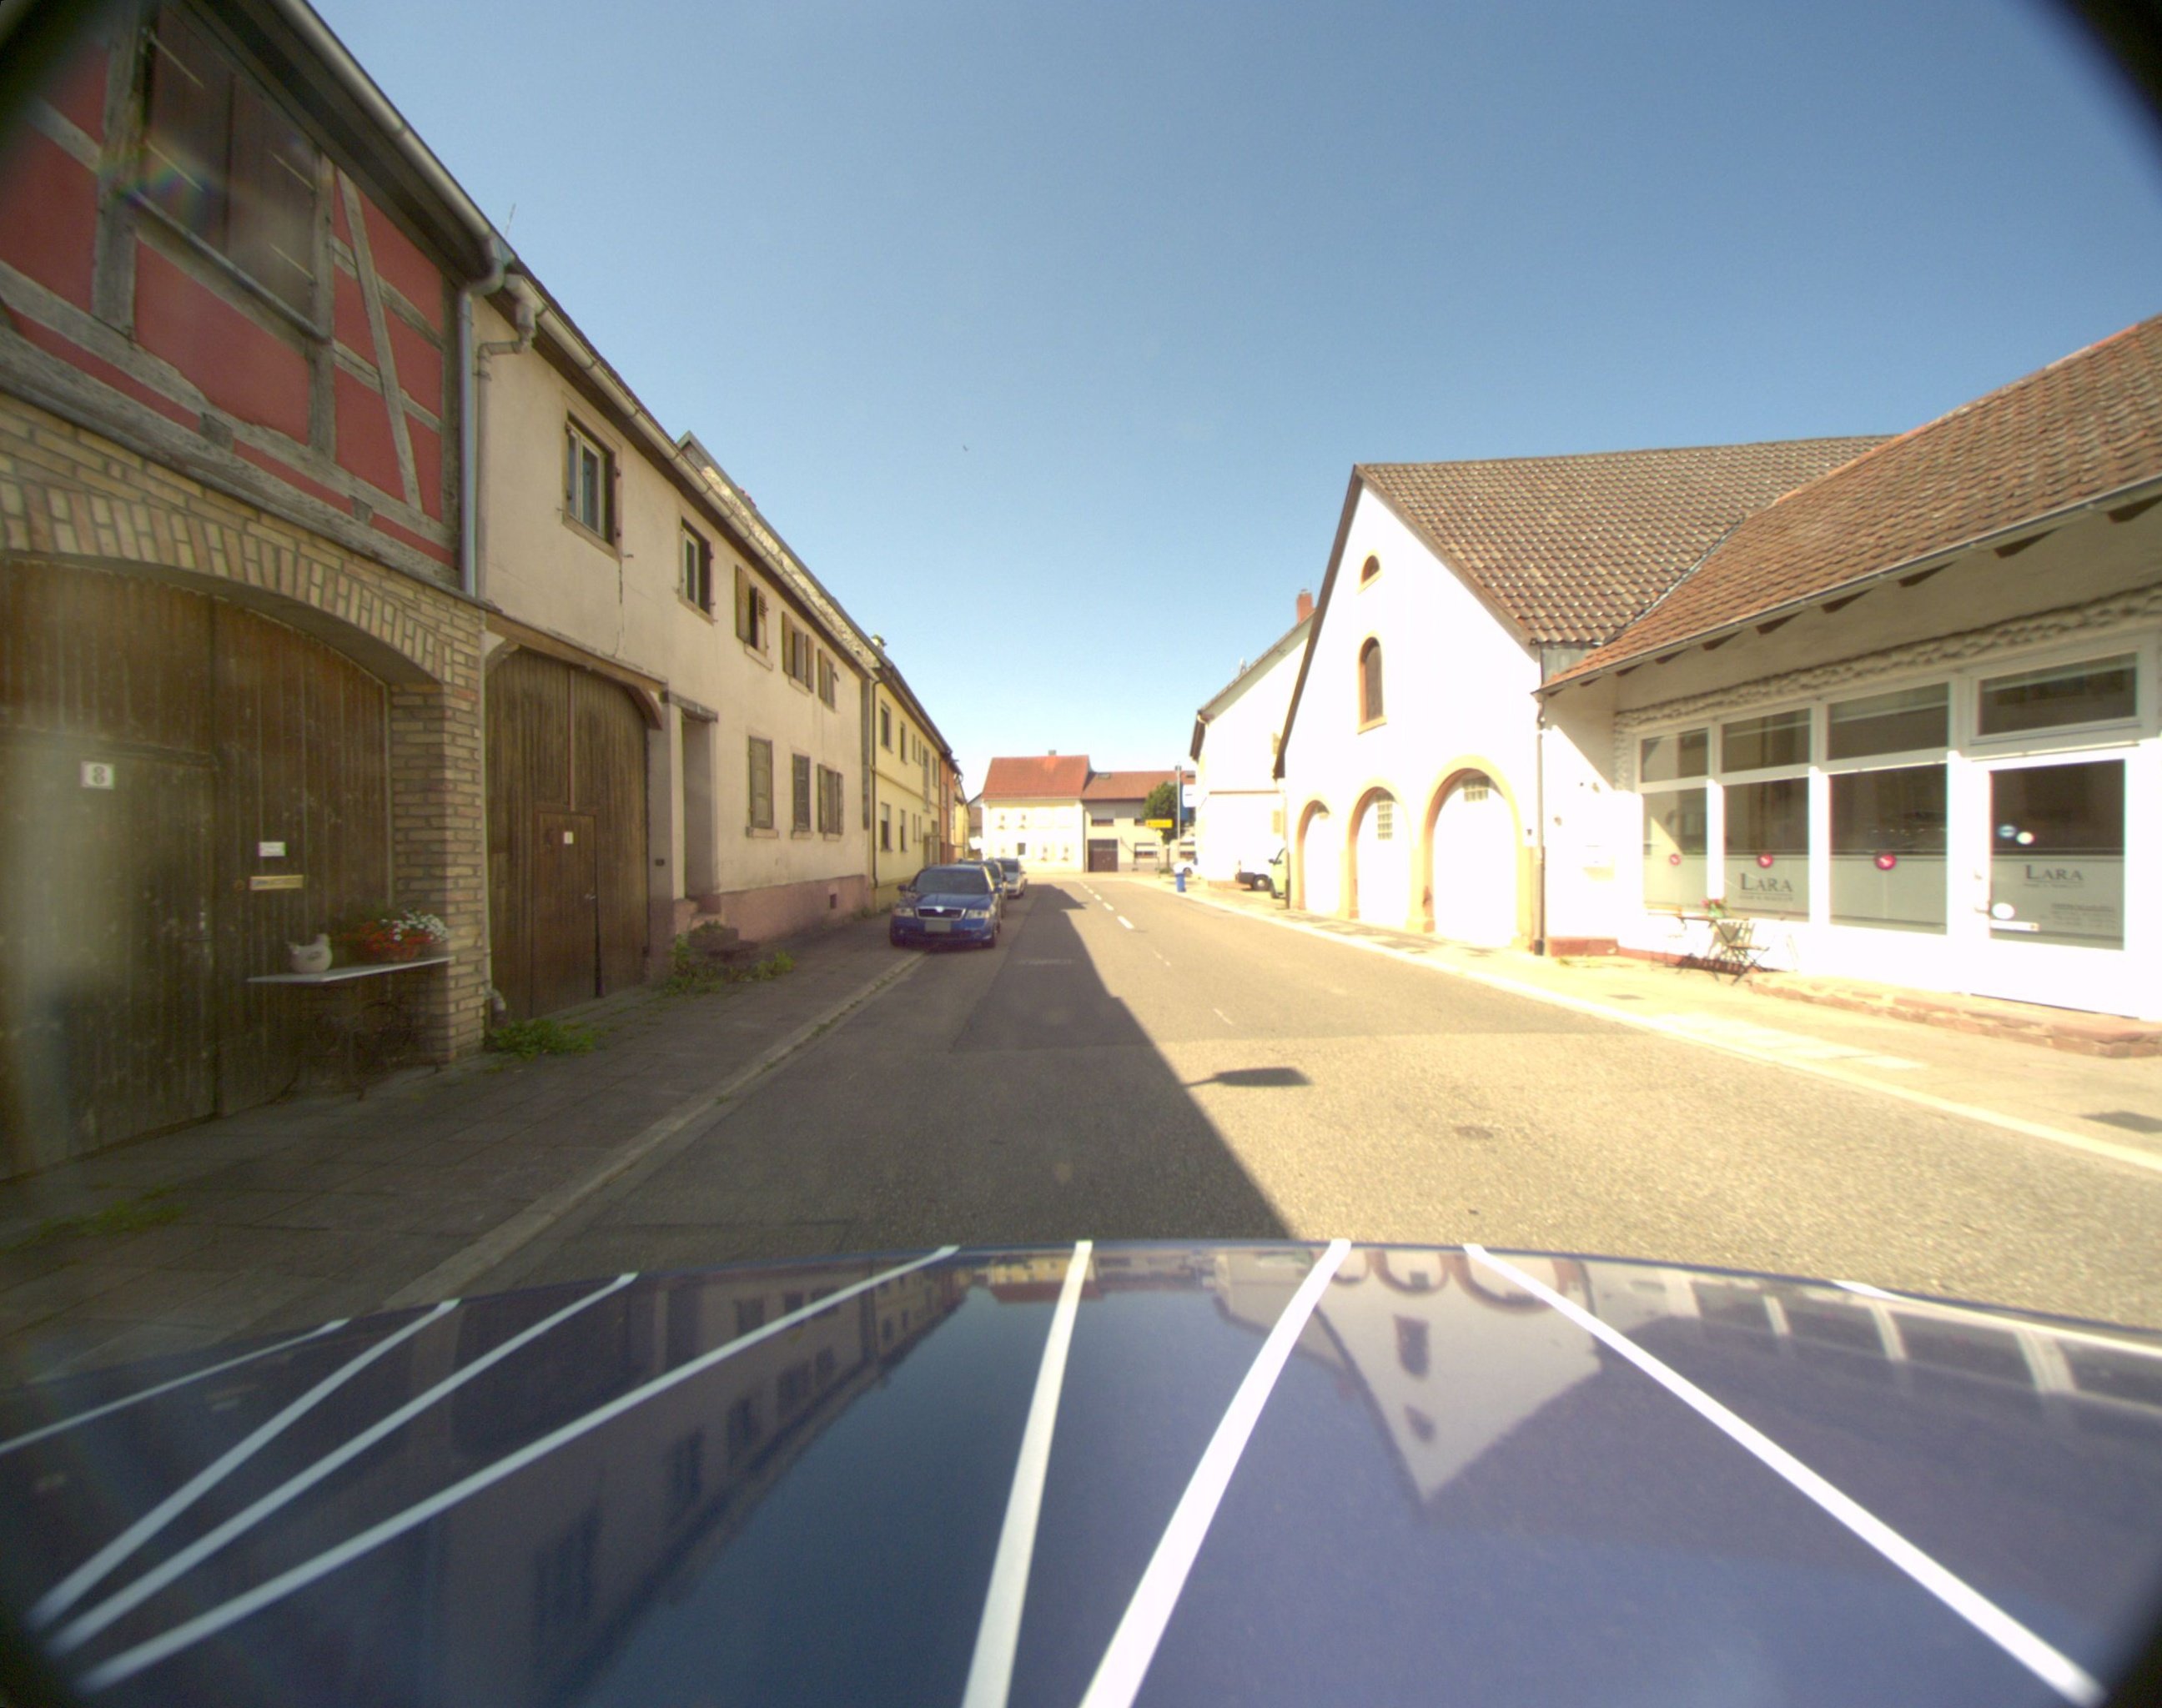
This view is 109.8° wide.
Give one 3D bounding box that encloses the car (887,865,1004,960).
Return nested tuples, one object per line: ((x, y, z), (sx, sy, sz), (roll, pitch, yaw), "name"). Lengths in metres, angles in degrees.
((-2.399, 0.976, 14.408), (1.703, 1.461, 4.408), (1, 0, -4), "car")

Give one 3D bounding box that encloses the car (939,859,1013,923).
((-2.833, 0.944, 21.171), (1.704, 1.574, 4.026), (1, 0, -3), "car")

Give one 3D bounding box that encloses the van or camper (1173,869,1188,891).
((4.520, 1.182, 34.514), (0.590, 0.946, 0.600), (-1, 0, 3), "van or camper")

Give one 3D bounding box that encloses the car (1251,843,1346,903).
((7.750, 0.628, 27.581), (1.999, 1.953, 4.668), (-1, 0, -1), "car")

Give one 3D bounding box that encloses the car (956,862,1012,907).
((-3.316, 1.013, 26.525), (1.555, 1.429, 3.720), (1, 0, -2), "car")

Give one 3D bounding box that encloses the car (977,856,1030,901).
((-3.162, 0.960, 31.698), (1.903, 1.718, 4.248), (-1, 0, -2), "car")

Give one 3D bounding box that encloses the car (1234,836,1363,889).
((9.489, 0.364, 33.542), (5.185, 2.184, 2.124), (-1, 0, 8), "car")
